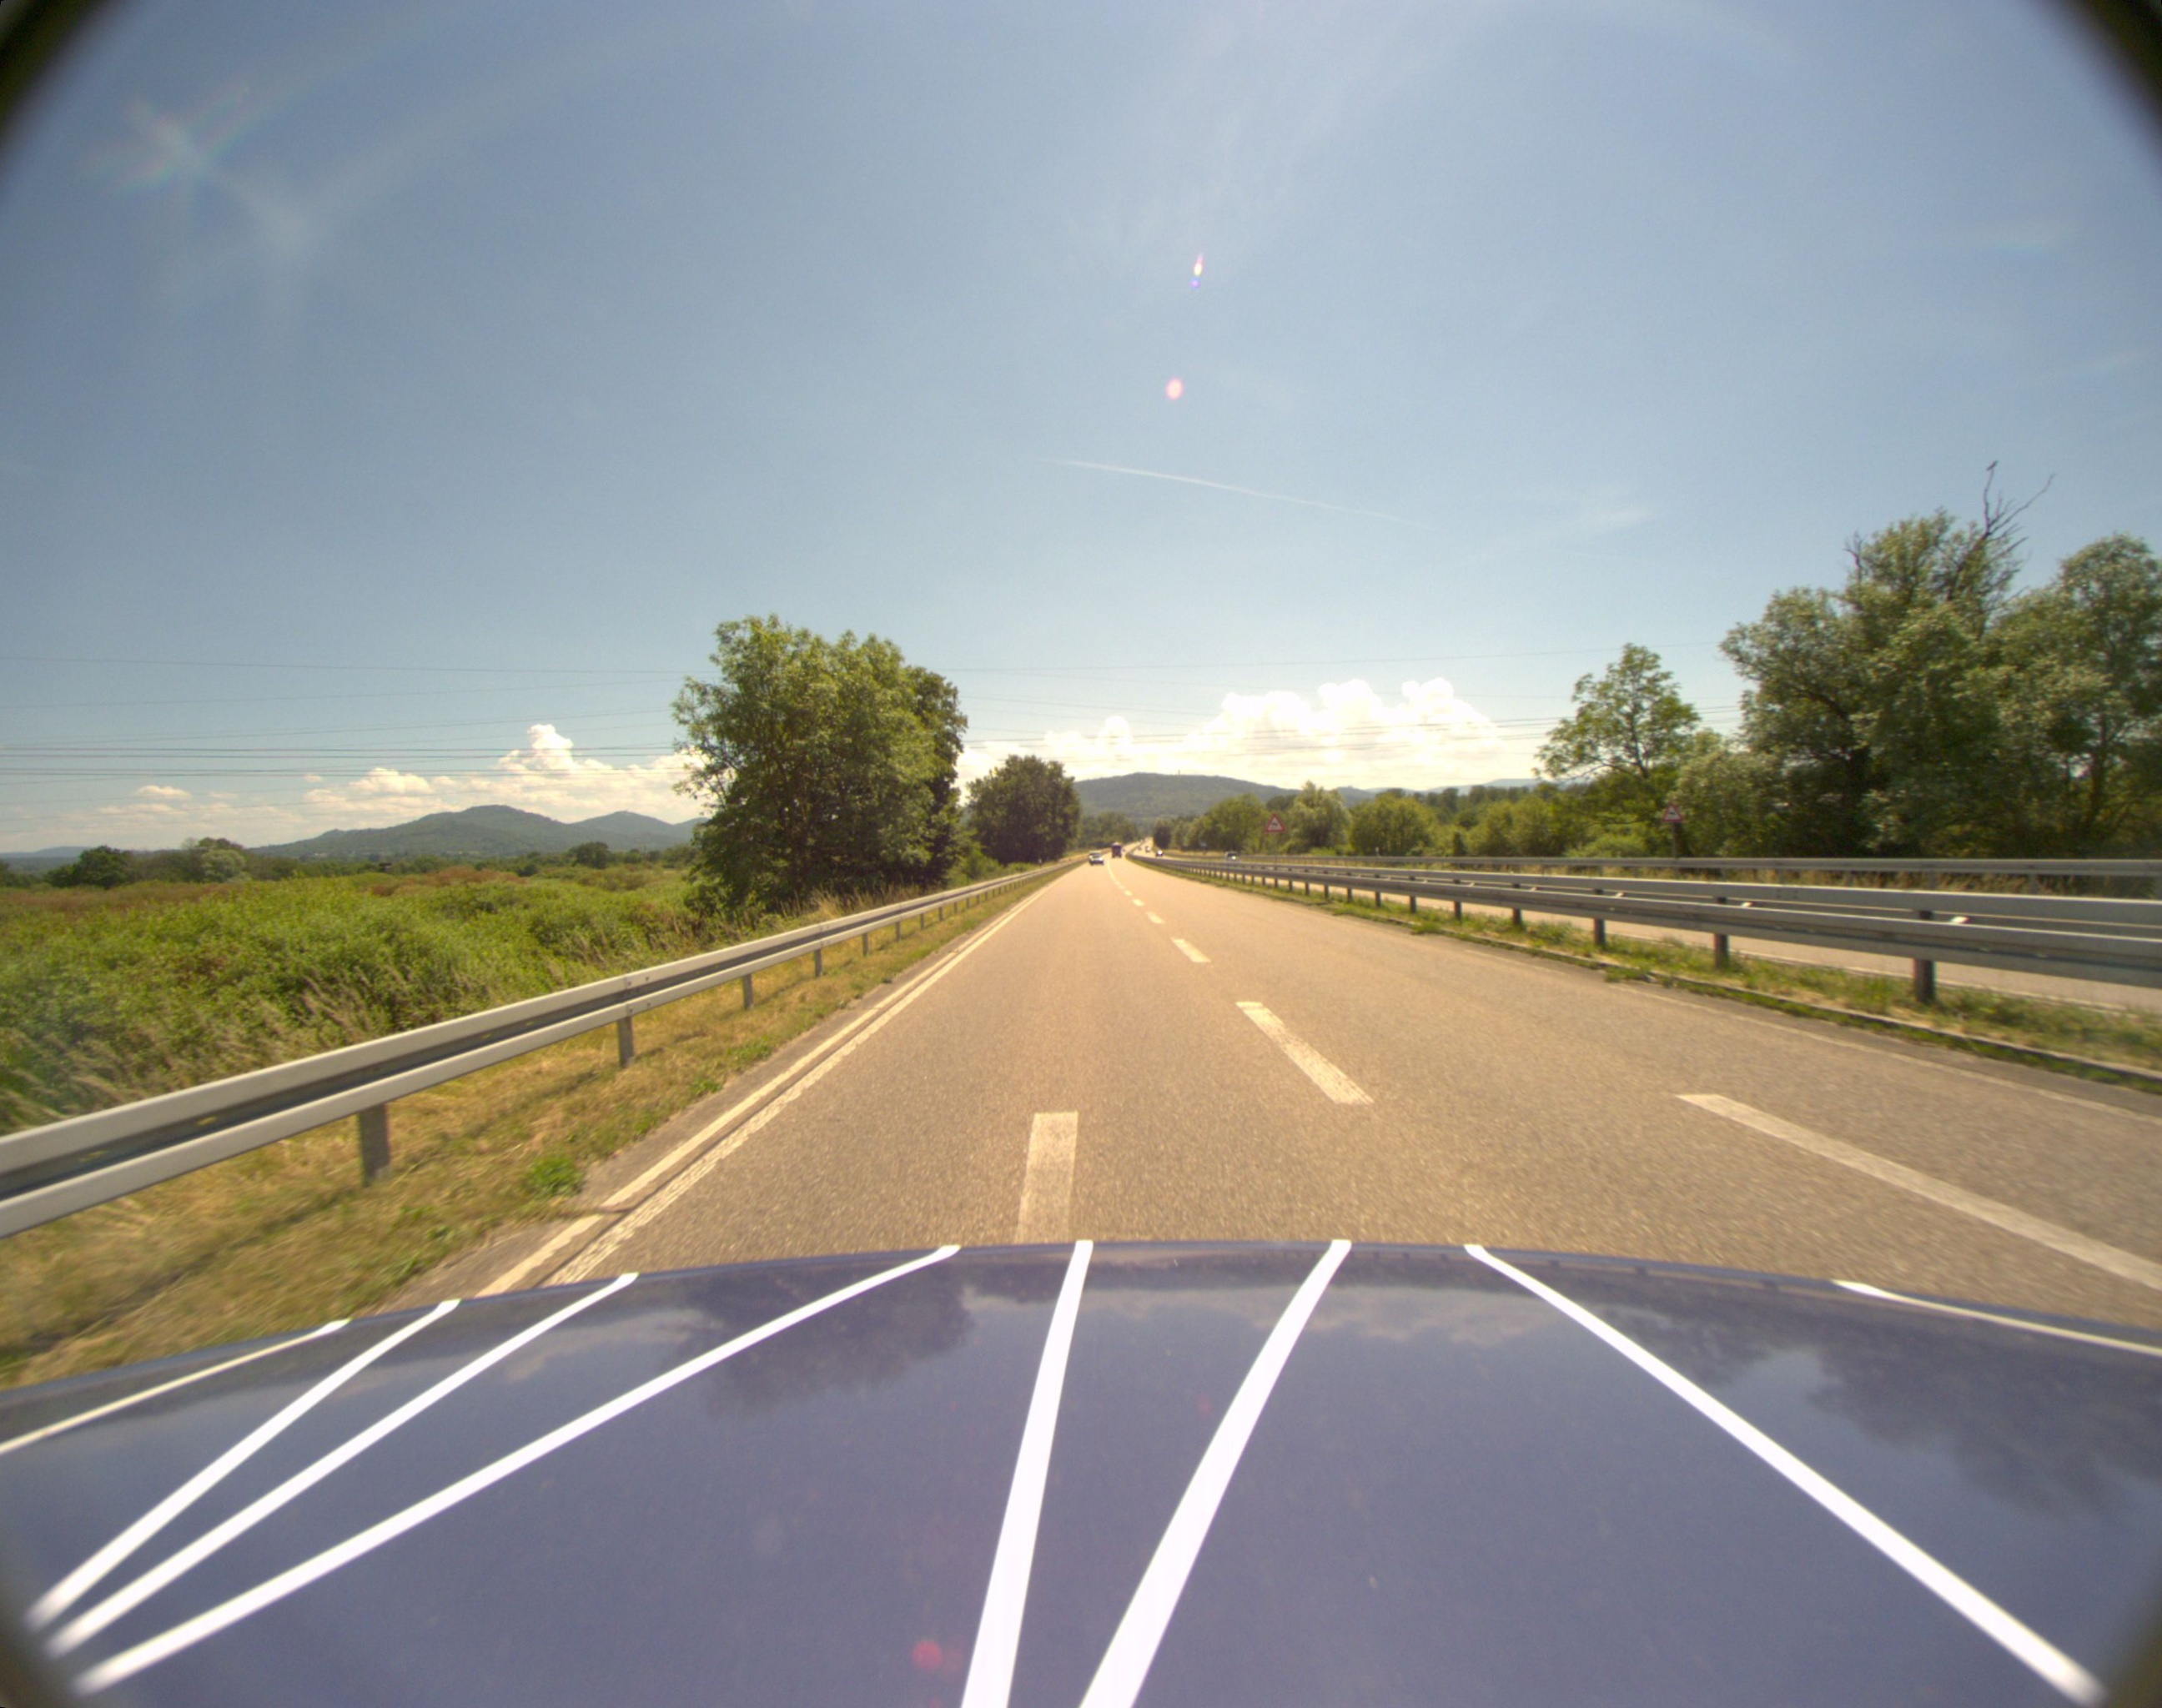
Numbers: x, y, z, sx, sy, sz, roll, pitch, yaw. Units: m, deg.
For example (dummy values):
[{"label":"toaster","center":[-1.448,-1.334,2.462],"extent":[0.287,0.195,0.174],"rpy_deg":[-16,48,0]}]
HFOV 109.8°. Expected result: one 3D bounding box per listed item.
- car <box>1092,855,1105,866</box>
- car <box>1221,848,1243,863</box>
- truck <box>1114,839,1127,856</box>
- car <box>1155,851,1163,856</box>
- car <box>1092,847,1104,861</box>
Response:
[{"label":"car","center":[2.404,0.902,104.765],"extent":[1.577,1.387,3.486],"rpy_deg":[-2,1,5]},{"label":"car","center":[15.241,0.134,76.947],"extent":[1.536,1.441,3.701],"rpy_deg":[-2,0,1]},{"label":"truck","center":[10.255,-1.811,197.230],"extent":[2.826,4.143,9.950],"rpy_deg":[-2,1,5]},{"label":"car","center":[19.928,-0.120,194.330],"extent":[1.849,1.405,4.681],"rpy_deg":[-2,0,1]},{"label":"car","center":[2.696,-0.043,122.253],"extent":[1.619,2.086,3.486],"rpy_deg":[-2,1,5]}]
